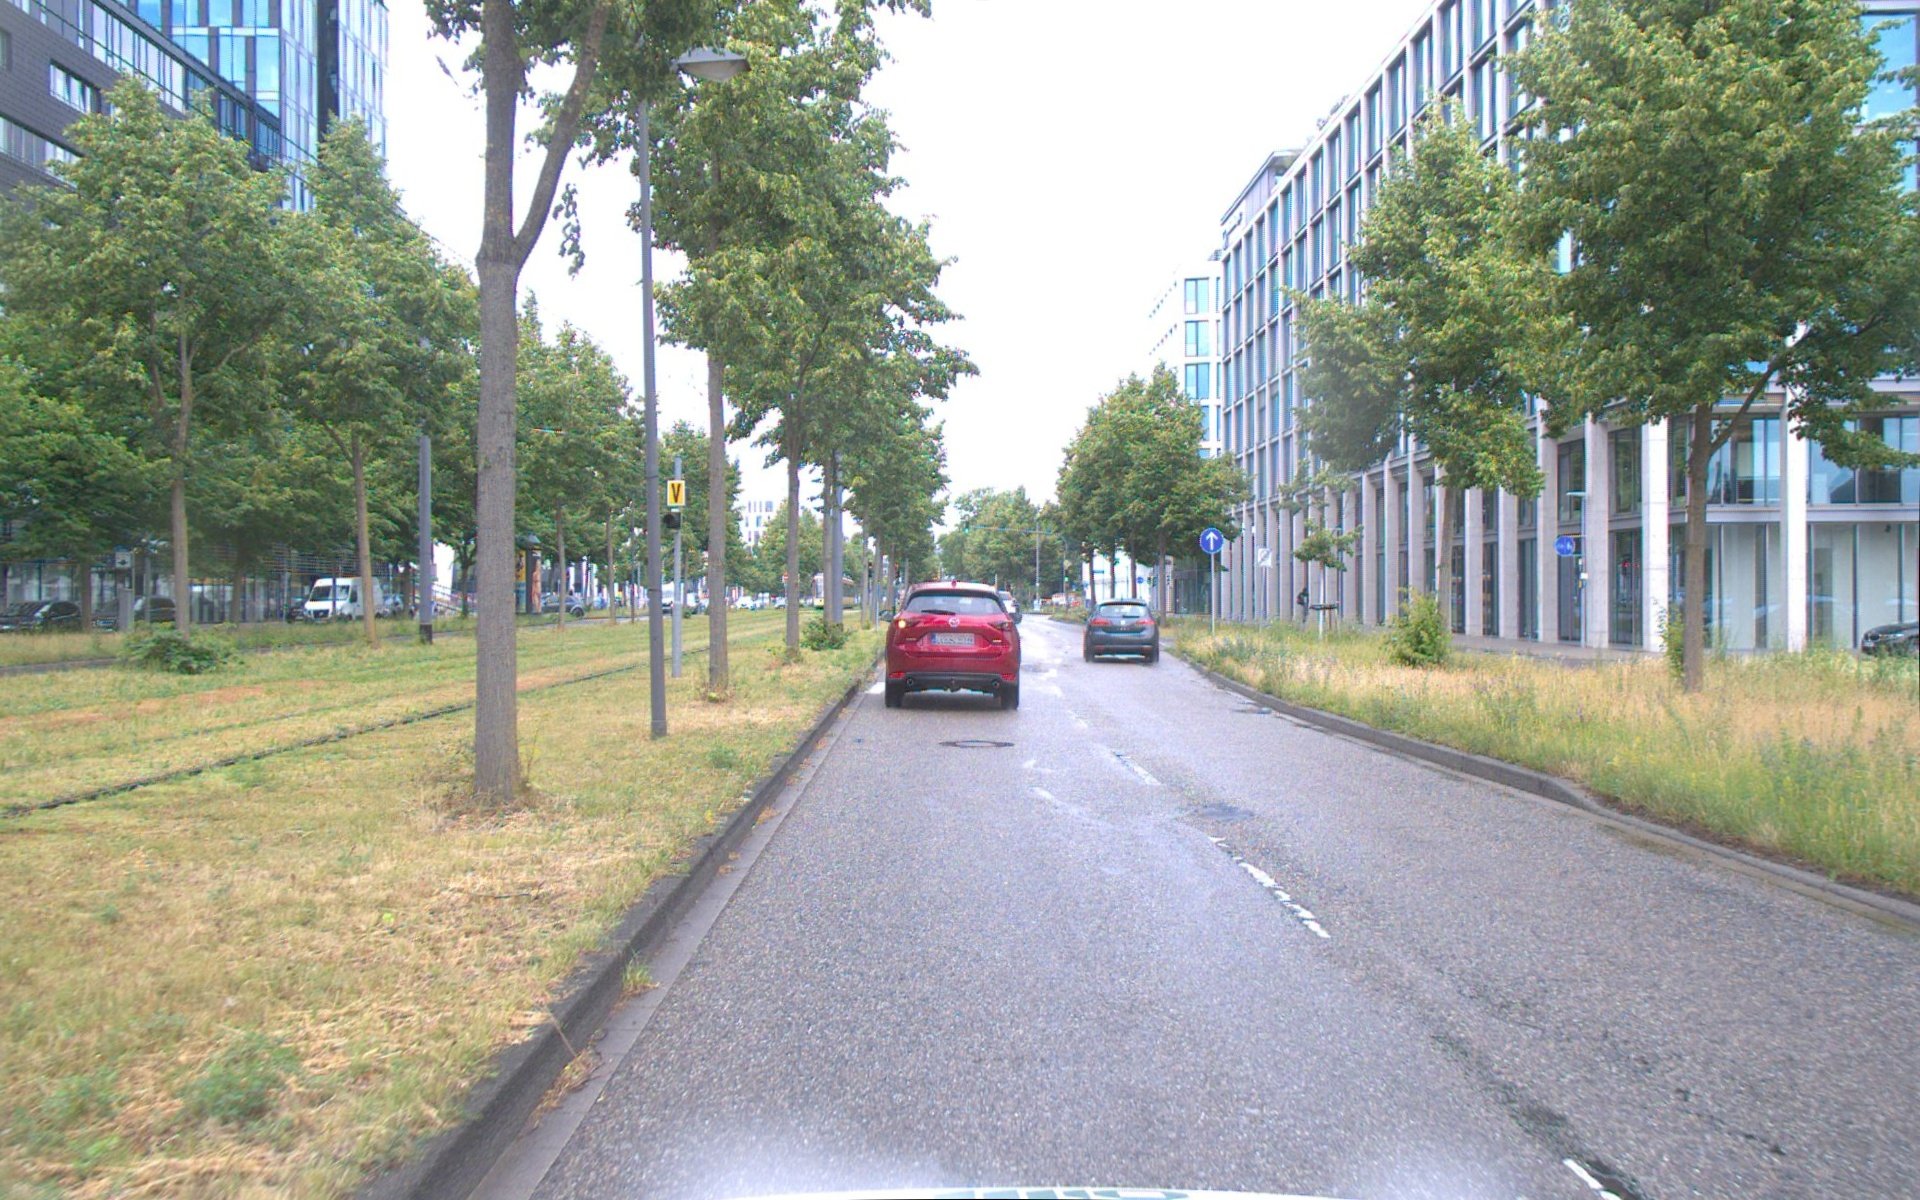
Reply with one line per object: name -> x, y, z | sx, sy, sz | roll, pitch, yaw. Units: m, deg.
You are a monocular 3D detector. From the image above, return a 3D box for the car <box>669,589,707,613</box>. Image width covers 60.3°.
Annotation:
car -> -18.299, 0.046, 111.410 | 1.825, 1.551, 4.478 | 0, 0, -1

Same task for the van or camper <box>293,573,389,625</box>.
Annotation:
van or camper -> -28.905, -0.054, 77.465 | 2.383, 2.356, 5.849 | 0, 0, -1

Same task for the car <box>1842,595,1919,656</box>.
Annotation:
car -> 25.288, 0.639, 42.562 | 4.129, 1.463, 1.982 | 0, 2, 4

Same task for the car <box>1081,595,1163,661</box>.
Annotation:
car -> 3.813, 0.625, 39.439 | 1.707, 1.490, 3.782 | 0, 0, 2

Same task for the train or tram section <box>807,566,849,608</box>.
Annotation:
train or tram section -> -12.176, -1.154, 153.597 | 3.065, 3.723, 13.403 | 0, 0, -1

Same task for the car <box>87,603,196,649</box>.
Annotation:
car -> -27.991, 0.862, 56.694 | 1.667, 1.475, 4.240 | 0, 0, -1

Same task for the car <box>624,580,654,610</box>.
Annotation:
car -> -29.218, -0.456, 150.509 | 2.211, 2.606, 4.650 | 0, 0, -5

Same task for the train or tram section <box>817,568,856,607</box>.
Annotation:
train or tram section -> -12.415, -1.215, 167.796 | 3.065, 3.723, 15.060 | 0, 0, -1

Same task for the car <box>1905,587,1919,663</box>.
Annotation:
car -> 21.100, 0.538, 33.621 | 1.815, 1.608, 4.003 | 0, 0, 6

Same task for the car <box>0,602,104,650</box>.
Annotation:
car -> -28.306, 0.773, 50.864 | 1.953, 1.402, 3.999 | 0, 0, -1

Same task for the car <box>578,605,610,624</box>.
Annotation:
car -> -29.926, 1.169, 135.268 | 1.955, 1.510, 4.441 | 0, 0, -5

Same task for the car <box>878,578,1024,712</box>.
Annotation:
car -> -0.167, 0.567, 23.212 | 1.860, 1.706, 3.999 | 0, 0, -2

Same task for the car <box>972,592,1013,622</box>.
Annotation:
car -> 1.636, 0.341, 85.922 | 1.927, 1.462, 4.551 | 1, 0, -1

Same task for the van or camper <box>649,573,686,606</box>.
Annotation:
van or camper -> -22.407, -0.805, 126.810 | 1.870, 2.453, 5.401 | 0, 0, -1

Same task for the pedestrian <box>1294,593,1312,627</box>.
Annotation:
pedestrian -> 17.898, 0.503, 86.277 | 0.702, 1.744, 0.861 | -2, 0, -2
